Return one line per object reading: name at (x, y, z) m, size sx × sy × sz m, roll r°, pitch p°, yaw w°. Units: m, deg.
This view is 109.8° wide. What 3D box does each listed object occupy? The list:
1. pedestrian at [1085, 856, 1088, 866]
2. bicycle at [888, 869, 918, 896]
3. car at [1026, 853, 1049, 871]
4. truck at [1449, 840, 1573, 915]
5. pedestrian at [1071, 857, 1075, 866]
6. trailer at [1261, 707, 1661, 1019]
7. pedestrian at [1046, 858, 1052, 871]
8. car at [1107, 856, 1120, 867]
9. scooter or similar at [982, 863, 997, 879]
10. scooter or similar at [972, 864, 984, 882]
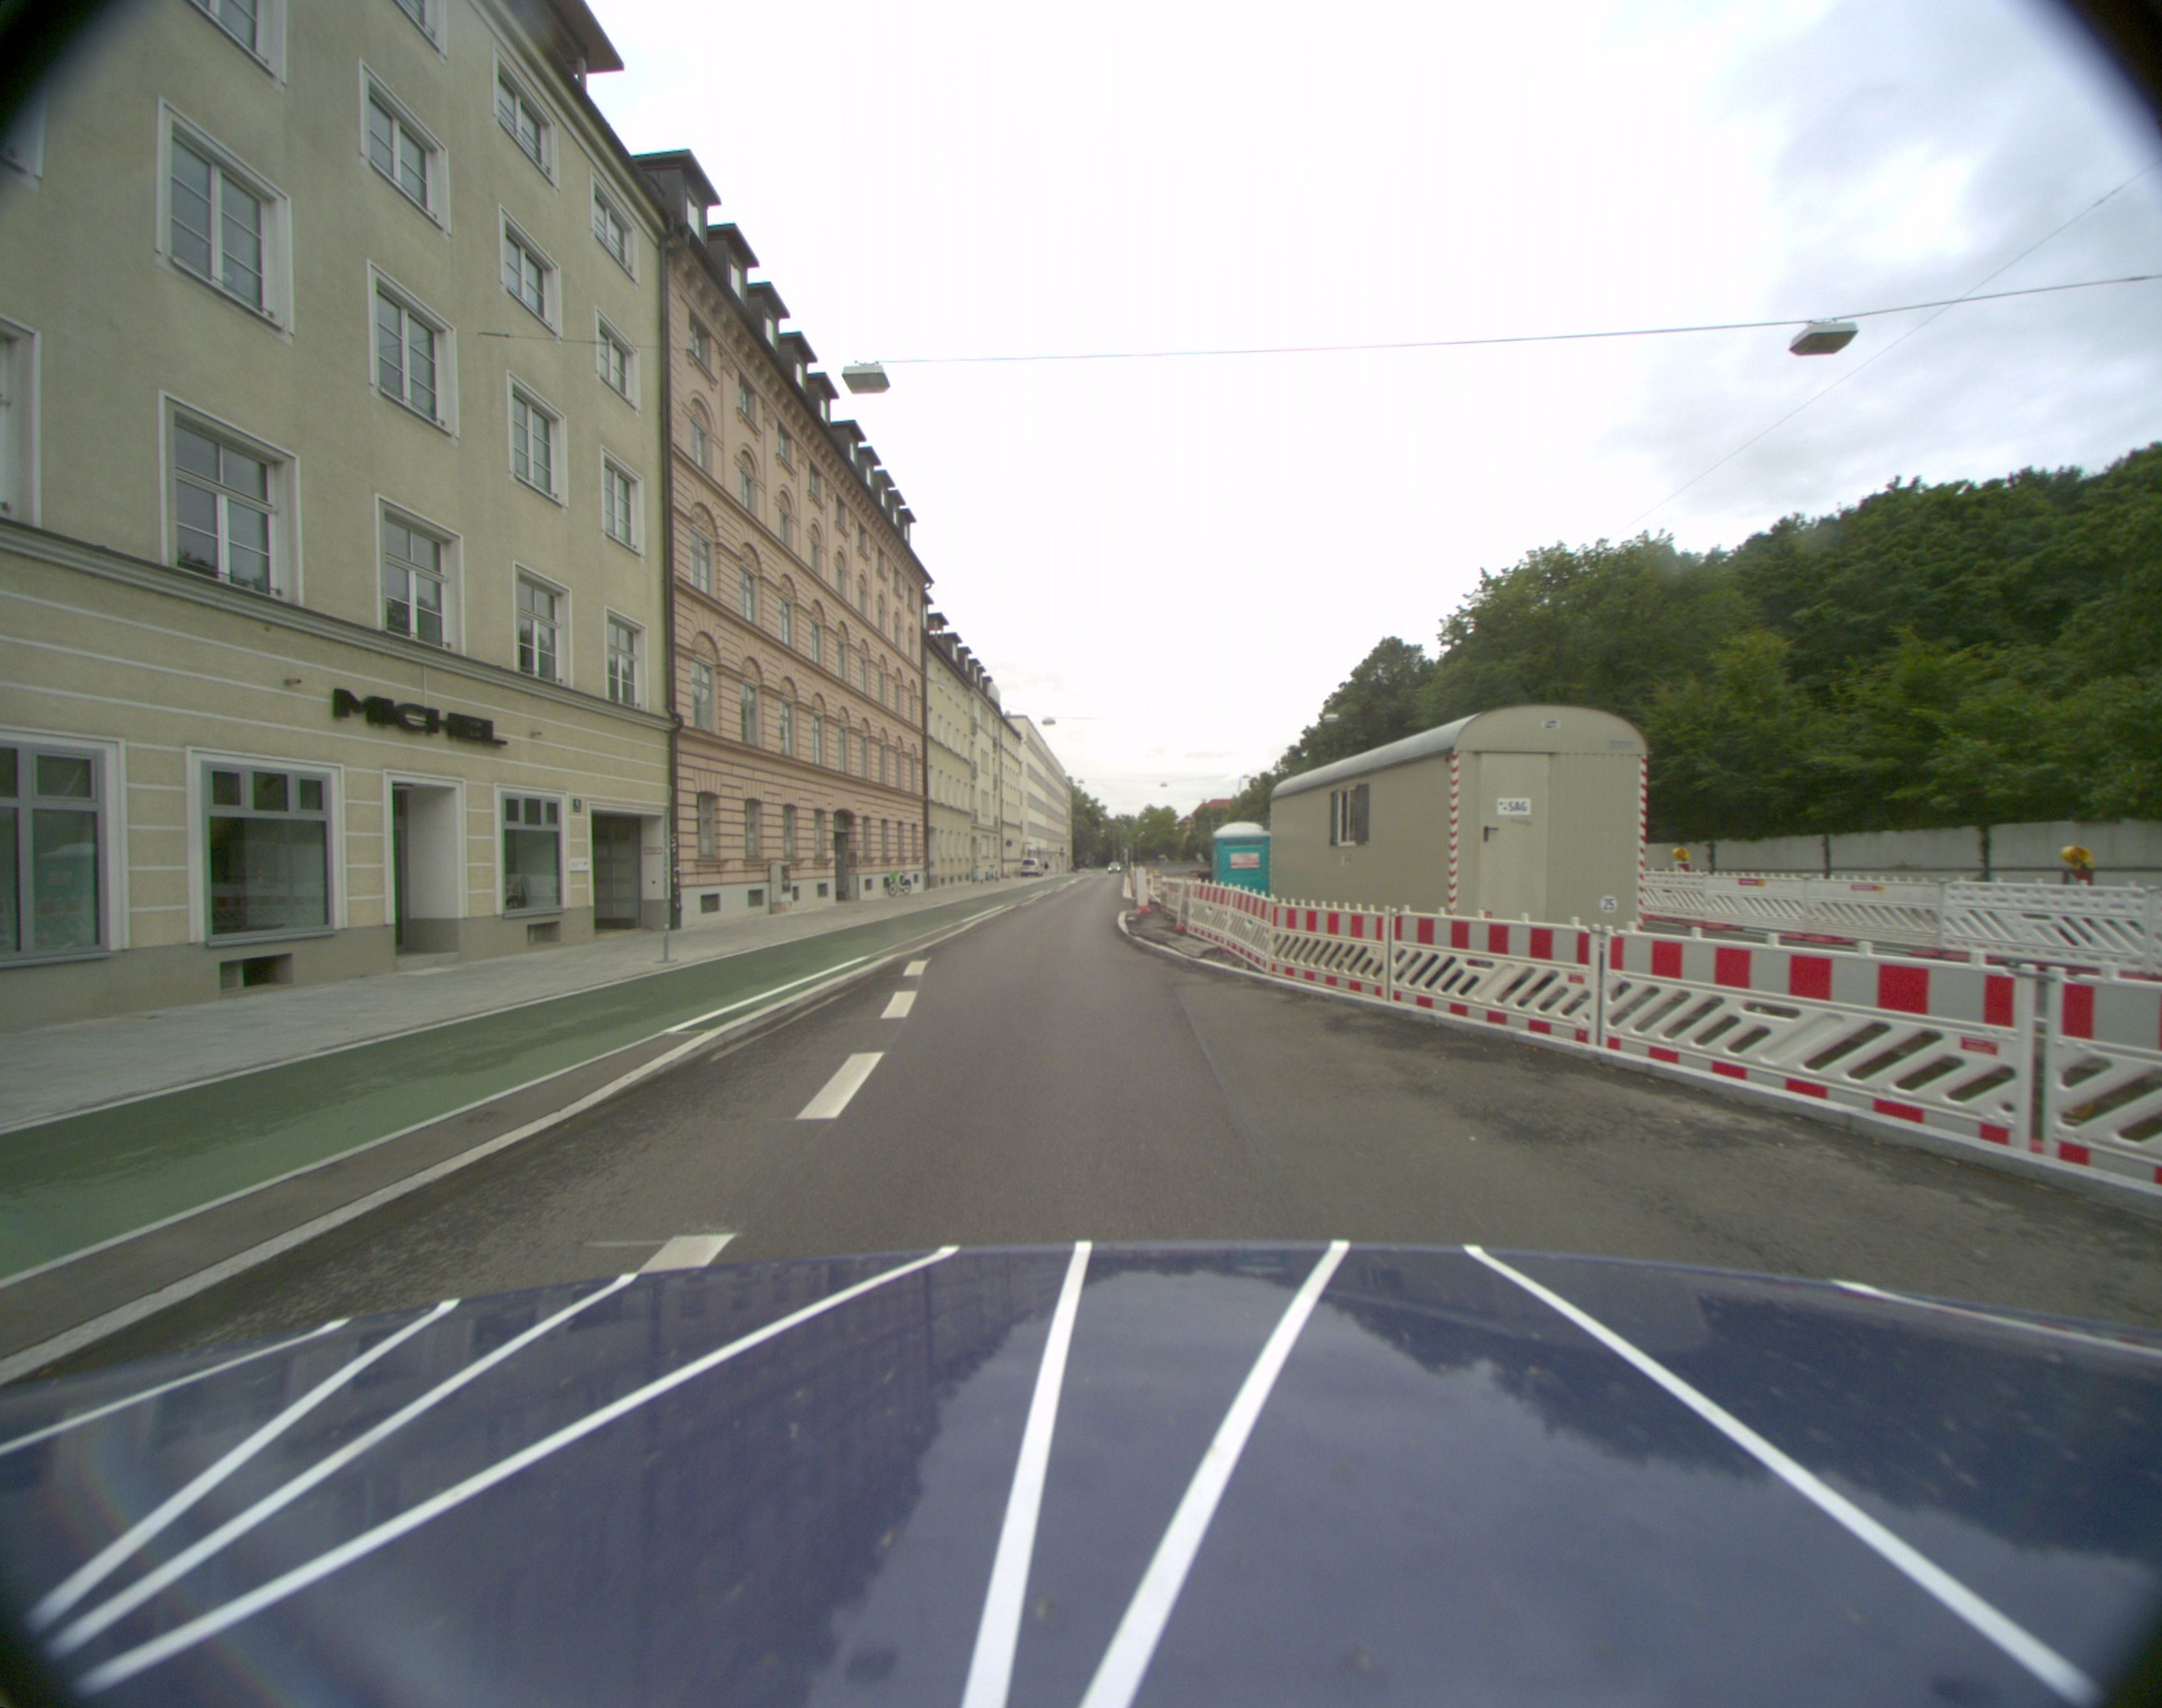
pedestrian at (0.957, 1.332, 139.651) m, size 0.514 × 1.825 × 0.602 m, roll -1°, pitch 0°, yaw 4°
bicycle at (-8.140, 1.286, 34.756) m, size 0.426 × 1.167 × 1.734 m, roll 0°, pitch 0°, yaw 21°
car at (-4.330, 0.778, 75.885) m, size 1.737 × 1.739 × 4.437 m, roll 0°, pitch 0°, yaw 4°
truck at (17.168, 0.871, 30.750) m, size 1.998 × 2.712 × 5.872 m, roll -1°, pitch 0°, yaw 4°
pedestrian at (-1.522, 1.456, 141.159) m, size 0.753 × 1.610 × 0.704 m, roll -1°, pitch 0°, yaw 4°
trailer at (4.873, 0.107, 11.701) m, size 2.232 × 3.224 × 7.518 m, roll -1°, pitch 0°, yaw -1°
pedestrian at (-3.946, 1.256, 92.814) m, size 0.666 × 1.626 × 0.737 m, roll 0°, pitch 0°, yaw 3°
car at (5.165, 1.228, 120.828) m, size 1.998 × 1.738 × 4.001 m, roll -1°, pitch 0°, yaw 2°
scooter or similar at (-6.979, 1.291, 57.988) m, size 1.121 × 1.224 × 0.246 m, roll 0°, pitch 1°, yaw -30°
scooter or similar at (-7.200, 1.292, 53.176) m, size 0.246 × 1.224 × 1.122 m, roll 1°, pitch 1°, yaw 29°
